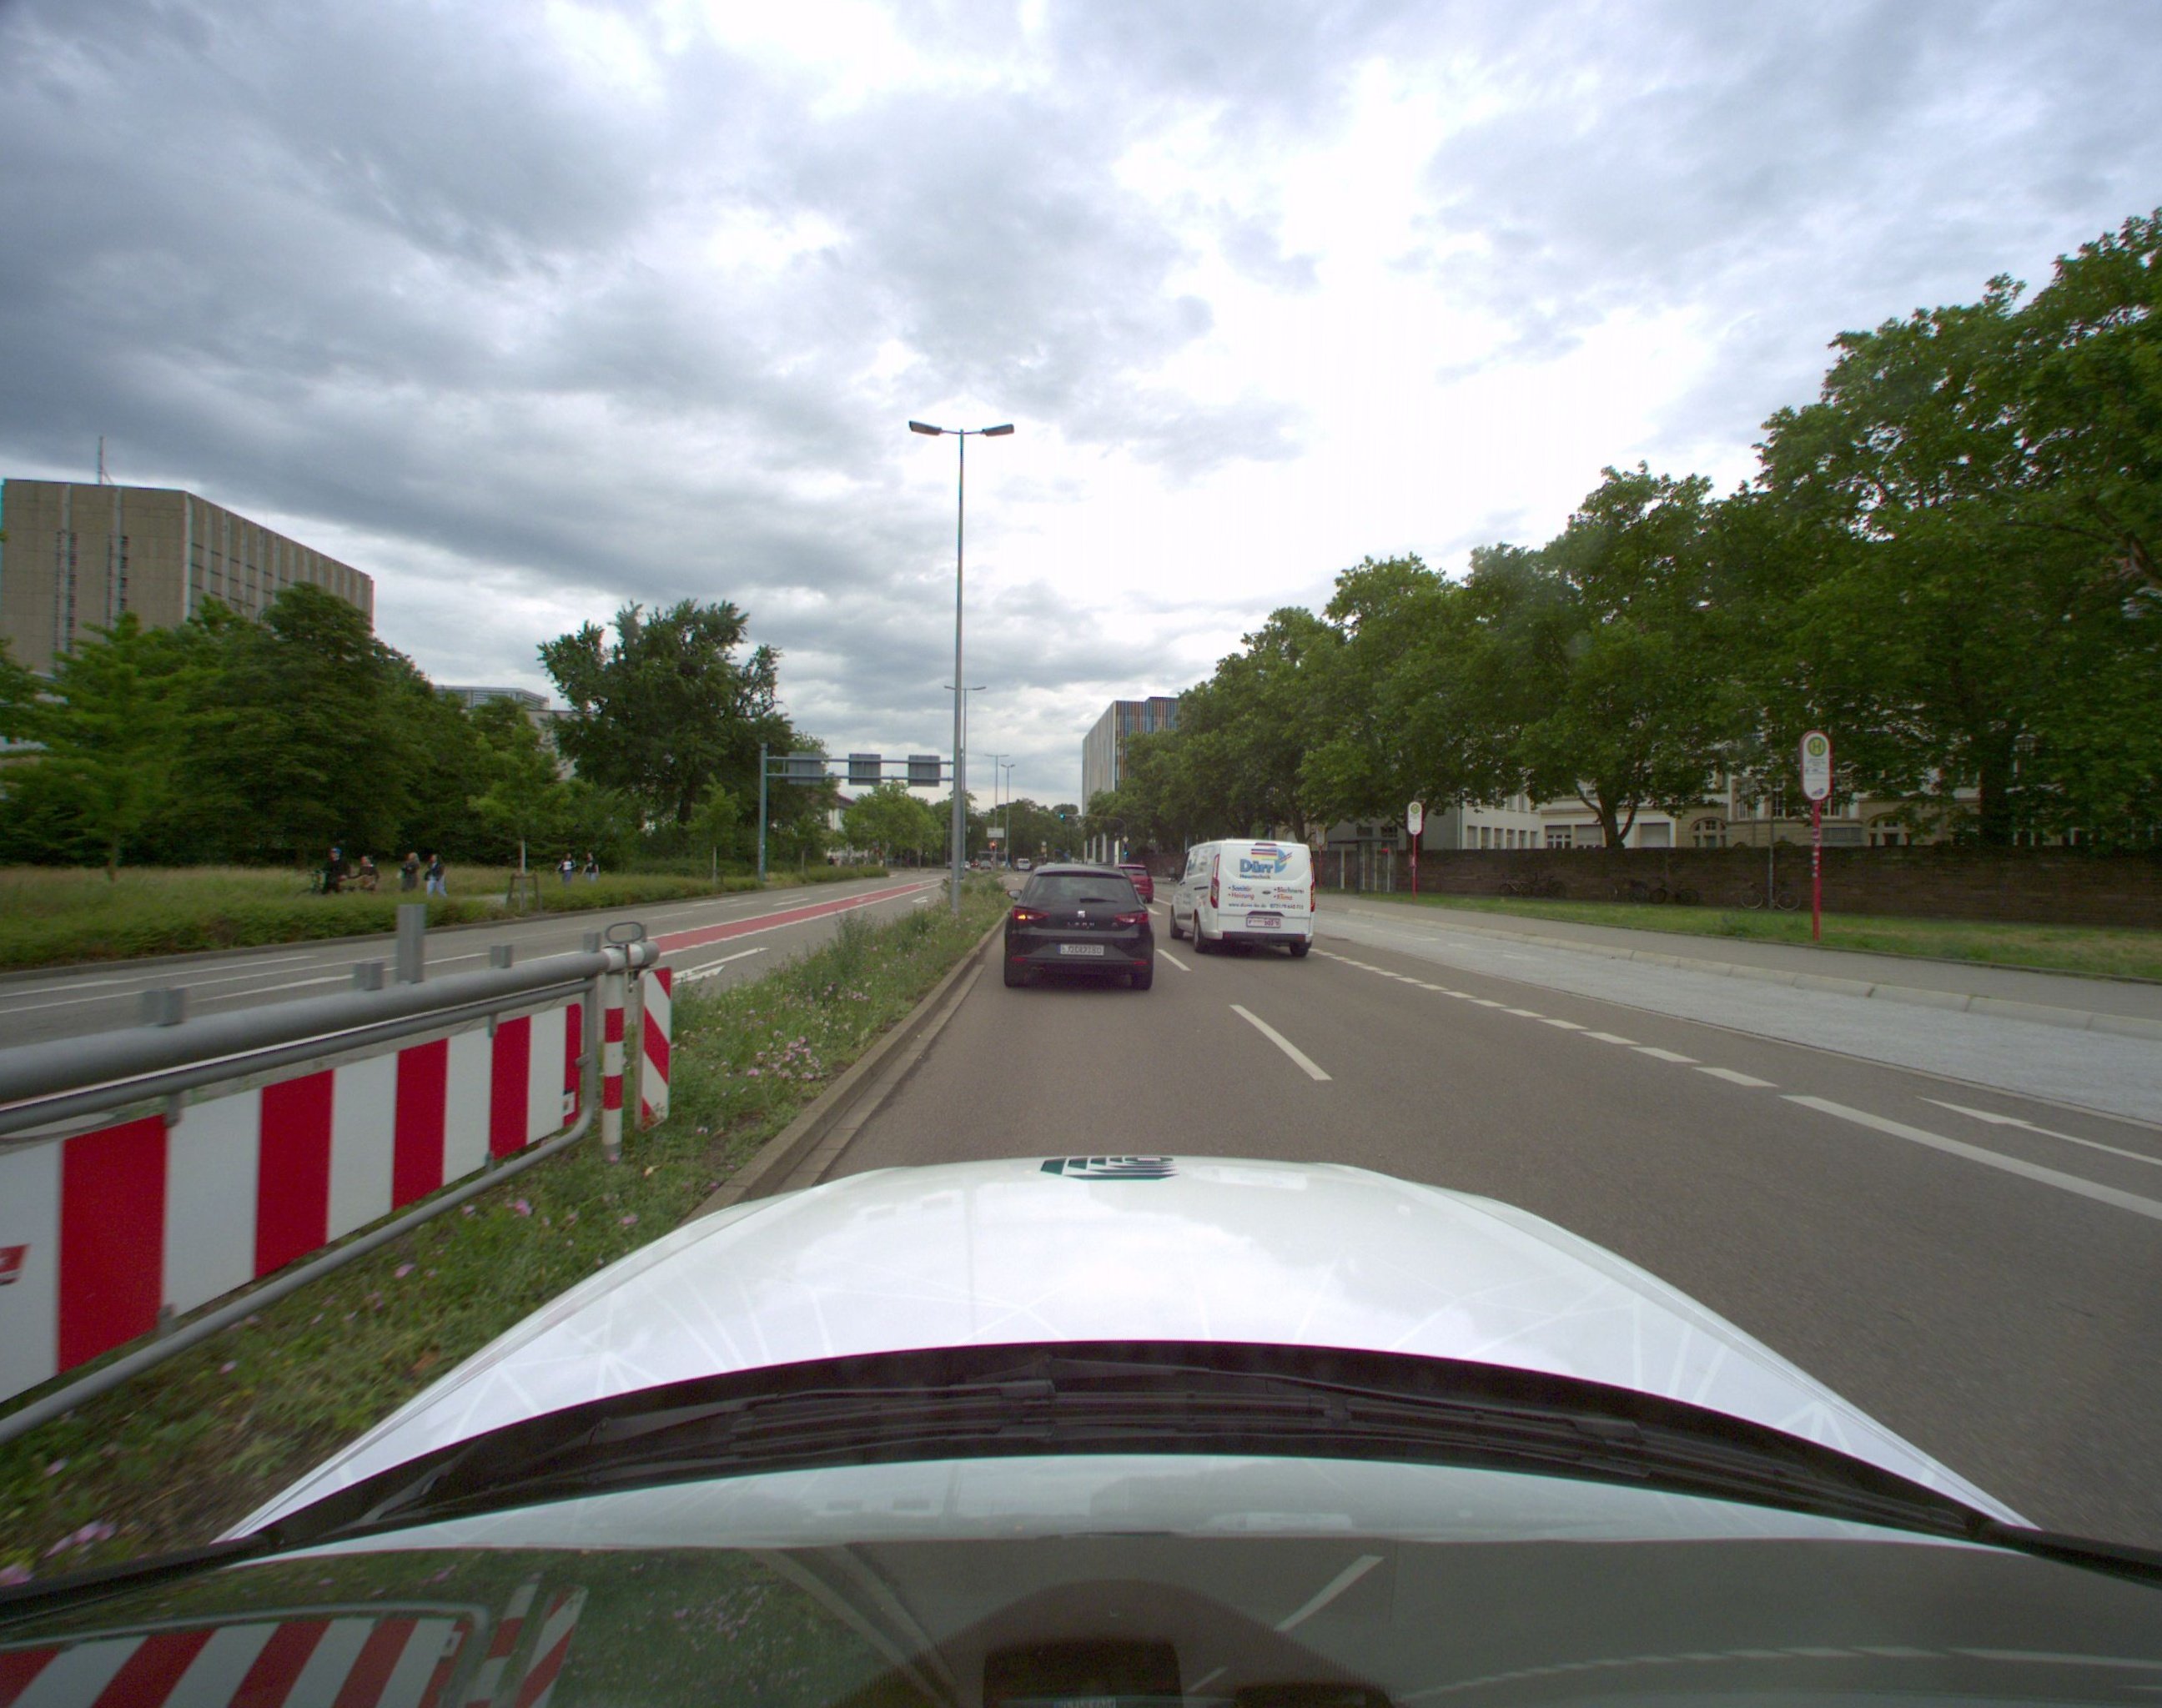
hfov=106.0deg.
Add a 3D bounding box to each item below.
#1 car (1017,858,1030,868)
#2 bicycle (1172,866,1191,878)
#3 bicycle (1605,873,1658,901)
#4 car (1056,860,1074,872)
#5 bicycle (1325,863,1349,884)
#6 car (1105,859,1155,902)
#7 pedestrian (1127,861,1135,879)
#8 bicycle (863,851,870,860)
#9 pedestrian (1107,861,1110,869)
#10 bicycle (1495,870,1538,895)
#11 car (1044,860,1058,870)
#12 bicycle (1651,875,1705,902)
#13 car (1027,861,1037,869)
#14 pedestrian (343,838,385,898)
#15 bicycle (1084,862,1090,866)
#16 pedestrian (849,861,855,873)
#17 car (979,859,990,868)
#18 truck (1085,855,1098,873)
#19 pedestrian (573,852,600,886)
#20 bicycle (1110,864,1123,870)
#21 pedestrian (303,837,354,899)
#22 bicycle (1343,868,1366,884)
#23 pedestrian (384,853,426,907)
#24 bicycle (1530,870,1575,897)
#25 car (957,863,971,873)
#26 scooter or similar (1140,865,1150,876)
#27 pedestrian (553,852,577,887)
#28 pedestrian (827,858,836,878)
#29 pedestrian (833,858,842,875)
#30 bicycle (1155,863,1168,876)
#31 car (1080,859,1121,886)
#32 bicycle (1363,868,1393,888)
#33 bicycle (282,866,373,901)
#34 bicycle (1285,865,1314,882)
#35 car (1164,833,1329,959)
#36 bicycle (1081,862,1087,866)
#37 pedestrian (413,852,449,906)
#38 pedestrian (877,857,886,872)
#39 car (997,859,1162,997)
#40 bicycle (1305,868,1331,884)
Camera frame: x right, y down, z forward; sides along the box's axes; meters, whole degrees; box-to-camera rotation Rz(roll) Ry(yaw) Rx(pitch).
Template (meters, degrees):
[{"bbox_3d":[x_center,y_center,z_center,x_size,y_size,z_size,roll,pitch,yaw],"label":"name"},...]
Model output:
[{"bbox_3d":[-8.450,1.300,119.545,1.693,1.504,4.001,-1,0,-6],"label":"car"},{"bbox_3d":[8.952,1.596,72.404,0.942,1.073,1.958,-1,0,-18],"label":"bicycle"},{"bbox_3d":[22.593,1.338,33.458,0.597,1.059,1.697,-1,0,-29],"label":"bicycle"},{"bbox_3d":[-1.984,1.495,101.428,1.897,1.354,3.874,-1,0,-6],"label":"car"},{"bbox_3d":[15.544,1.192,49.528,0.500,1.221,1.615,-1,0,-21],"label":"bicycle"},{"bbox_3d":[2.024,1.055,34.441,1.942,1.624,3.750,2,0,1],"label":"car"},{"bbox_3d":[4.938,1.583,80.644,0.459,1.739,0.549,-1,0,-42],"label":"pedestrian"},{"bbox_3d":[-27.478,0.180,104.132,0.668,1.062,1.607,2,-2,-21],"label":"bicycle"},{"bbox_3d":[4.700,1.814,137.148,0.470,1.361,0.446,-1,0,7],"label":"pedestrian"},{"bbox_3d":[20.329,1.326,38.052,0.597,1.136,1.697,-1,0,-29],"label":"bicycle"},{"bbox_3d":[-4.230,1.544,114.072,1.614,1.354,3.991,-1,0,-6],"label":"car"},{"bbox_3d":[23.396,1.354,31.946,0.553,0.992,1.621,-1,0,-32],"label":"bicycle"},{"bbox_3d":[-8.197,1.809,137.095,1.503,1.194,3.156,-1,0,-6],"label":"car"},{"bbox_3d":[-19.500,0.383,22.163,0.571,1.609,0.618,-1,0,12],"label":"pedestrian"},{"bbox_3d":[1.336,2.114,175.034,1.240,0.823,0.478,3,-2,-25],"label":"bicycle"},{"bbox_3d":[-28.650,1.624,101.662,0.573,1.527,0.841,1,-5,-27],"label":"pedestrian"},{"bbox_3d":[-16.050,1.634,135.202,1.763,1.460,4.778,-1,-1,-8],"label":"car"},{"bbox_3d":[1.289,1.216,102.099,1.315,2.243,3.397,-1,0,-3],"label":"truck"},{"bbox_3d":[-20.024,0.611,32.987,0.643,1.358,0.710,-1,0,-4],"label":"pedestrian"},{"bbox_3d":[5.478,2.008,124.757,1.895,0.898,0.692,-1,0,-24],"label":"bicycle"},{"bbox_3d":[-20.231,0.375,21.906,0.656,1.632,0.766,-1,0,12],"label":"pedestrian"},{"bbox_3d":[16.105,1.288,48.020,0.417,0.942,1.515,-1,0,-20],"label":"bicycle"},{"bbox_3d":[-21.249,0.811,25.627,0.706,1.672,0.765,-1,0,-9],"label":"pedestrian"},{"bbox_3d":[21.143,1.306,36.539,0.597,1.129,1.697,-1,0,-29],"label":"bicycle"},{"bbox_3d":[-17.223,2.040,119.978,1.604,1.381,3.804,-1,0,-3],"label":"car"},{"bbox_3d":[6.676,1.724,84.973,0.428,1.179,1.712,-2,0,22],"label":"scooter or similar"},{"bbox_3d":[-20.996,0.626,33.157,0.646,1.362,0.677,-1,0,-15],"label":"pedestrian"},{"bbox_3d":[-22.461,1.259,73.279,0.619,1.729,0.817,-1,0,-3],"label":"pedestrian"},{"bbox_3d":[-23.474,1.206,78.528,0.698,1.636,0.670,-1,0,-4],"label":"pedestrian"},{"bbox_3d":[7.685,1.441,78.048,0.802,1.174,1.949,-2,0,-8],"label":"bicycle"},{"bbox_3d":[1.259,1.186,54.432,1.914,1.664,4.100,-1,0,-10],"label":"car"},{"bbox_3d":[16.606,1.328,45.619,0.599,1.104,1.642,-1,0,-23],"label":"bicycle"},{"bbox_3d":[-20.226,0.777,21.904,0.656,0.888,1.720,-1,0,12],"label":"bicycle"},{"bbox_3d":[14.204,1.270,52.995,0.723,1.100,1.774,-1,0,-32],"label":"bicycle"},{"bbox_3d":[2.903,0.711,15.358,1.962,1.972,4.338,2,-1,-3],"label":"car"},{"bbox_3d":[0.662,2.184,177.295,1.264,0.848,0.478,4,-2,-25],"label":"bicycle"},{"bbox_3d":[-20.535,0.786,25.724,0.585,1.660,0.718,-1,0,-9],"label":"pedestrian"},{"bbox_3d":[-25.141,1.333,102.718,0.847,1.740,0.820,3,-6,-42],"label":"pedestrian"},{"bbox_3d":[0.021,0.834,10.693,1.747,1.432,3.769,2,-1,1],"label":"car"},{"bbox_3d":[14.893,1.382,51.219,0.656,0.951,1.758,-1,0,-21],"label":"bicycle"}]
